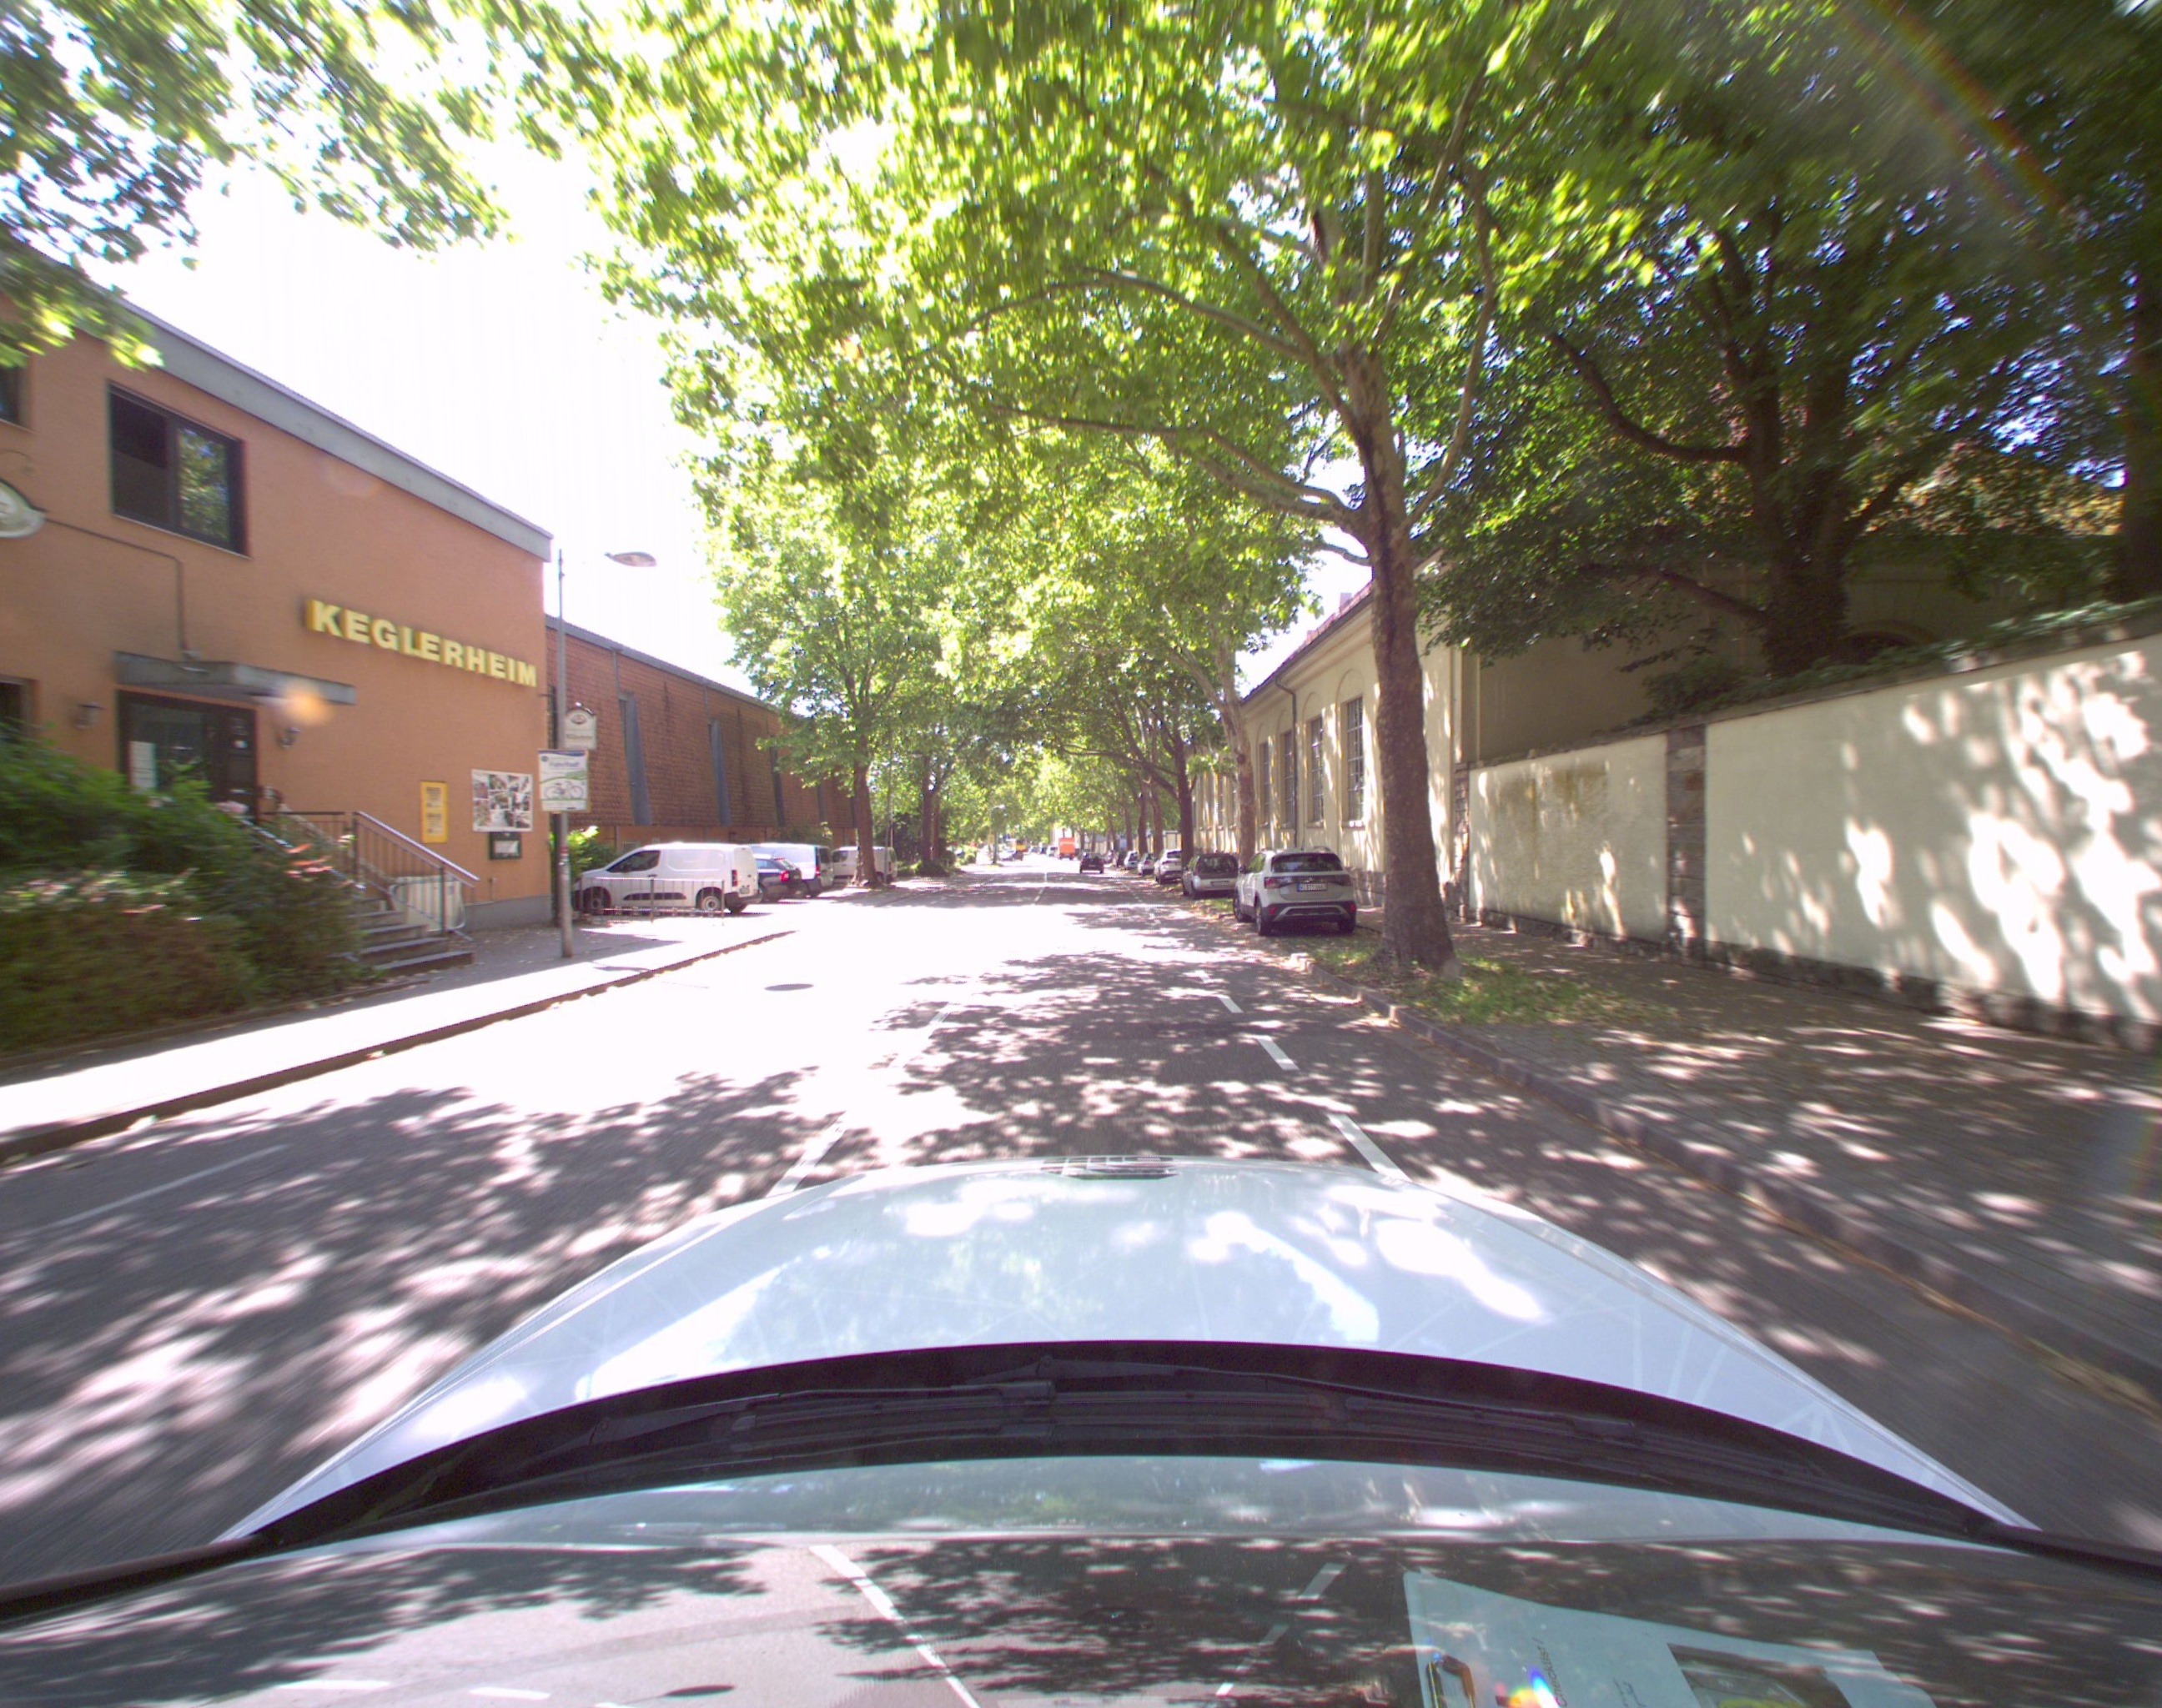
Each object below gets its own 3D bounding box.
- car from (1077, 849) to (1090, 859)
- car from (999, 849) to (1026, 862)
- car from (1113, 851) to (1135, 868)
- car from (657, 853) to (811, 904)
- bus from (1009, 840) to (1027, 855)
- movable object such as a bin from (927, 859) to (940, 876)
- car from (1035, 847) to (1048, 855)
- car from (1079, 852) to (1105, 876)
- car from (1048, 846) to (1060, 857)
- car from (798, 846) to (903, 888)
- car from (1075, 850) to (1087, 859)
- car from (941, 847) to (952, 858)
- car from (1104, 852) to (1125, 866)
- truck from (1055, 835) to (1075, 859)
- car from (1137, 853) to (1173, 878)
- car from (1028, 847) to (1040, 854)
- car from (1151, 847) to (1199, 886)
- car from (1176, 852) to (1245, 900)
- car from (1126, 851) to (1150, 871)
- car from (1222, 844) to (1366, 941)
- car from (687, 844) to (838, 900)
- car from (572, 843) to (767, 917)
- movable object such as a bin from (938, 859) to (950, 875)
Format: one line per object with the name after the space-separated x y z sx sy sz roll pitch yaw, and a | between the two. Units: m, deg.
0.381 -0.001 122.898 1.763 1.374 3.724 -1 0 -4 | car
-8.981 0.246 106.849 1.977 1.666 4.020 -2 -1 20 | car
4.084 0.516 77.455 1.761 1.465 3.874 -3 0 -1 | car
-10.721 0.745 25.376 3.977 1.515 1.866 0 0 -3 | car
-14.879 -1.476 191.608 2.665 3.150 11.151 -2 0 -12 | bus
-9.841 0.879 54.277 0.732 1.078 0.701 -1 0 0 | movable object such as a bin
-7.284 -0.508 149.032 1.768 1.374 3.714 -3 0 -12 | car
0.743 0.674 57.517 1.706 1.447 4.057 -2 2 0 | car
-4.443 -0.374 134.682 1.876 1.685 3.993 -1 -1 -4 | car
-10.136 0.554 36.075 4.118 1.804 1.901 0 0 -3 | car
-0.002 0.034 135.455 1.763 1.374 3.724 -3 0 -4 | car
-26.754 -0.348 161.485 1.995 2.014 3.983 -1 -1 -12 | car
3.588 0.479 87.117 1.763 1.374 3.724 -3 0 -4 | car
-2.202 -0.888 113.030 2.366 3.134 5.759 -1 -1 -5 | truck
4.504 0.675 50.287 1.761 1.433 3.874 -3 0 -1 | car
-9.487 -0.659 163.456 1.768 1.374 3.715 -3 0 -12 | car
4.511 0.557 39.647 1.802 1.689 4.752 -3 0 1 | car
4.339 0.679 27.858 1.616 1.439 4.433 -3 0 1 | car
4.501 0.566 64.898 1.573 1.465 3.874 -3 0 -1 | car
4.085 0.632 16.407 1.734 1.557 4.782 -3 1 2 | car
-10.816 0.597 27.907 4.412 1.804 1.901 0 0 -3 | car
-10.412 0.638 20.839 3.977 1.792 1.866 0 0 -3 | car
-9.147 0.889 54.306 0.621 1.048 0.621 -1 0 1 | movable object such as a bin
